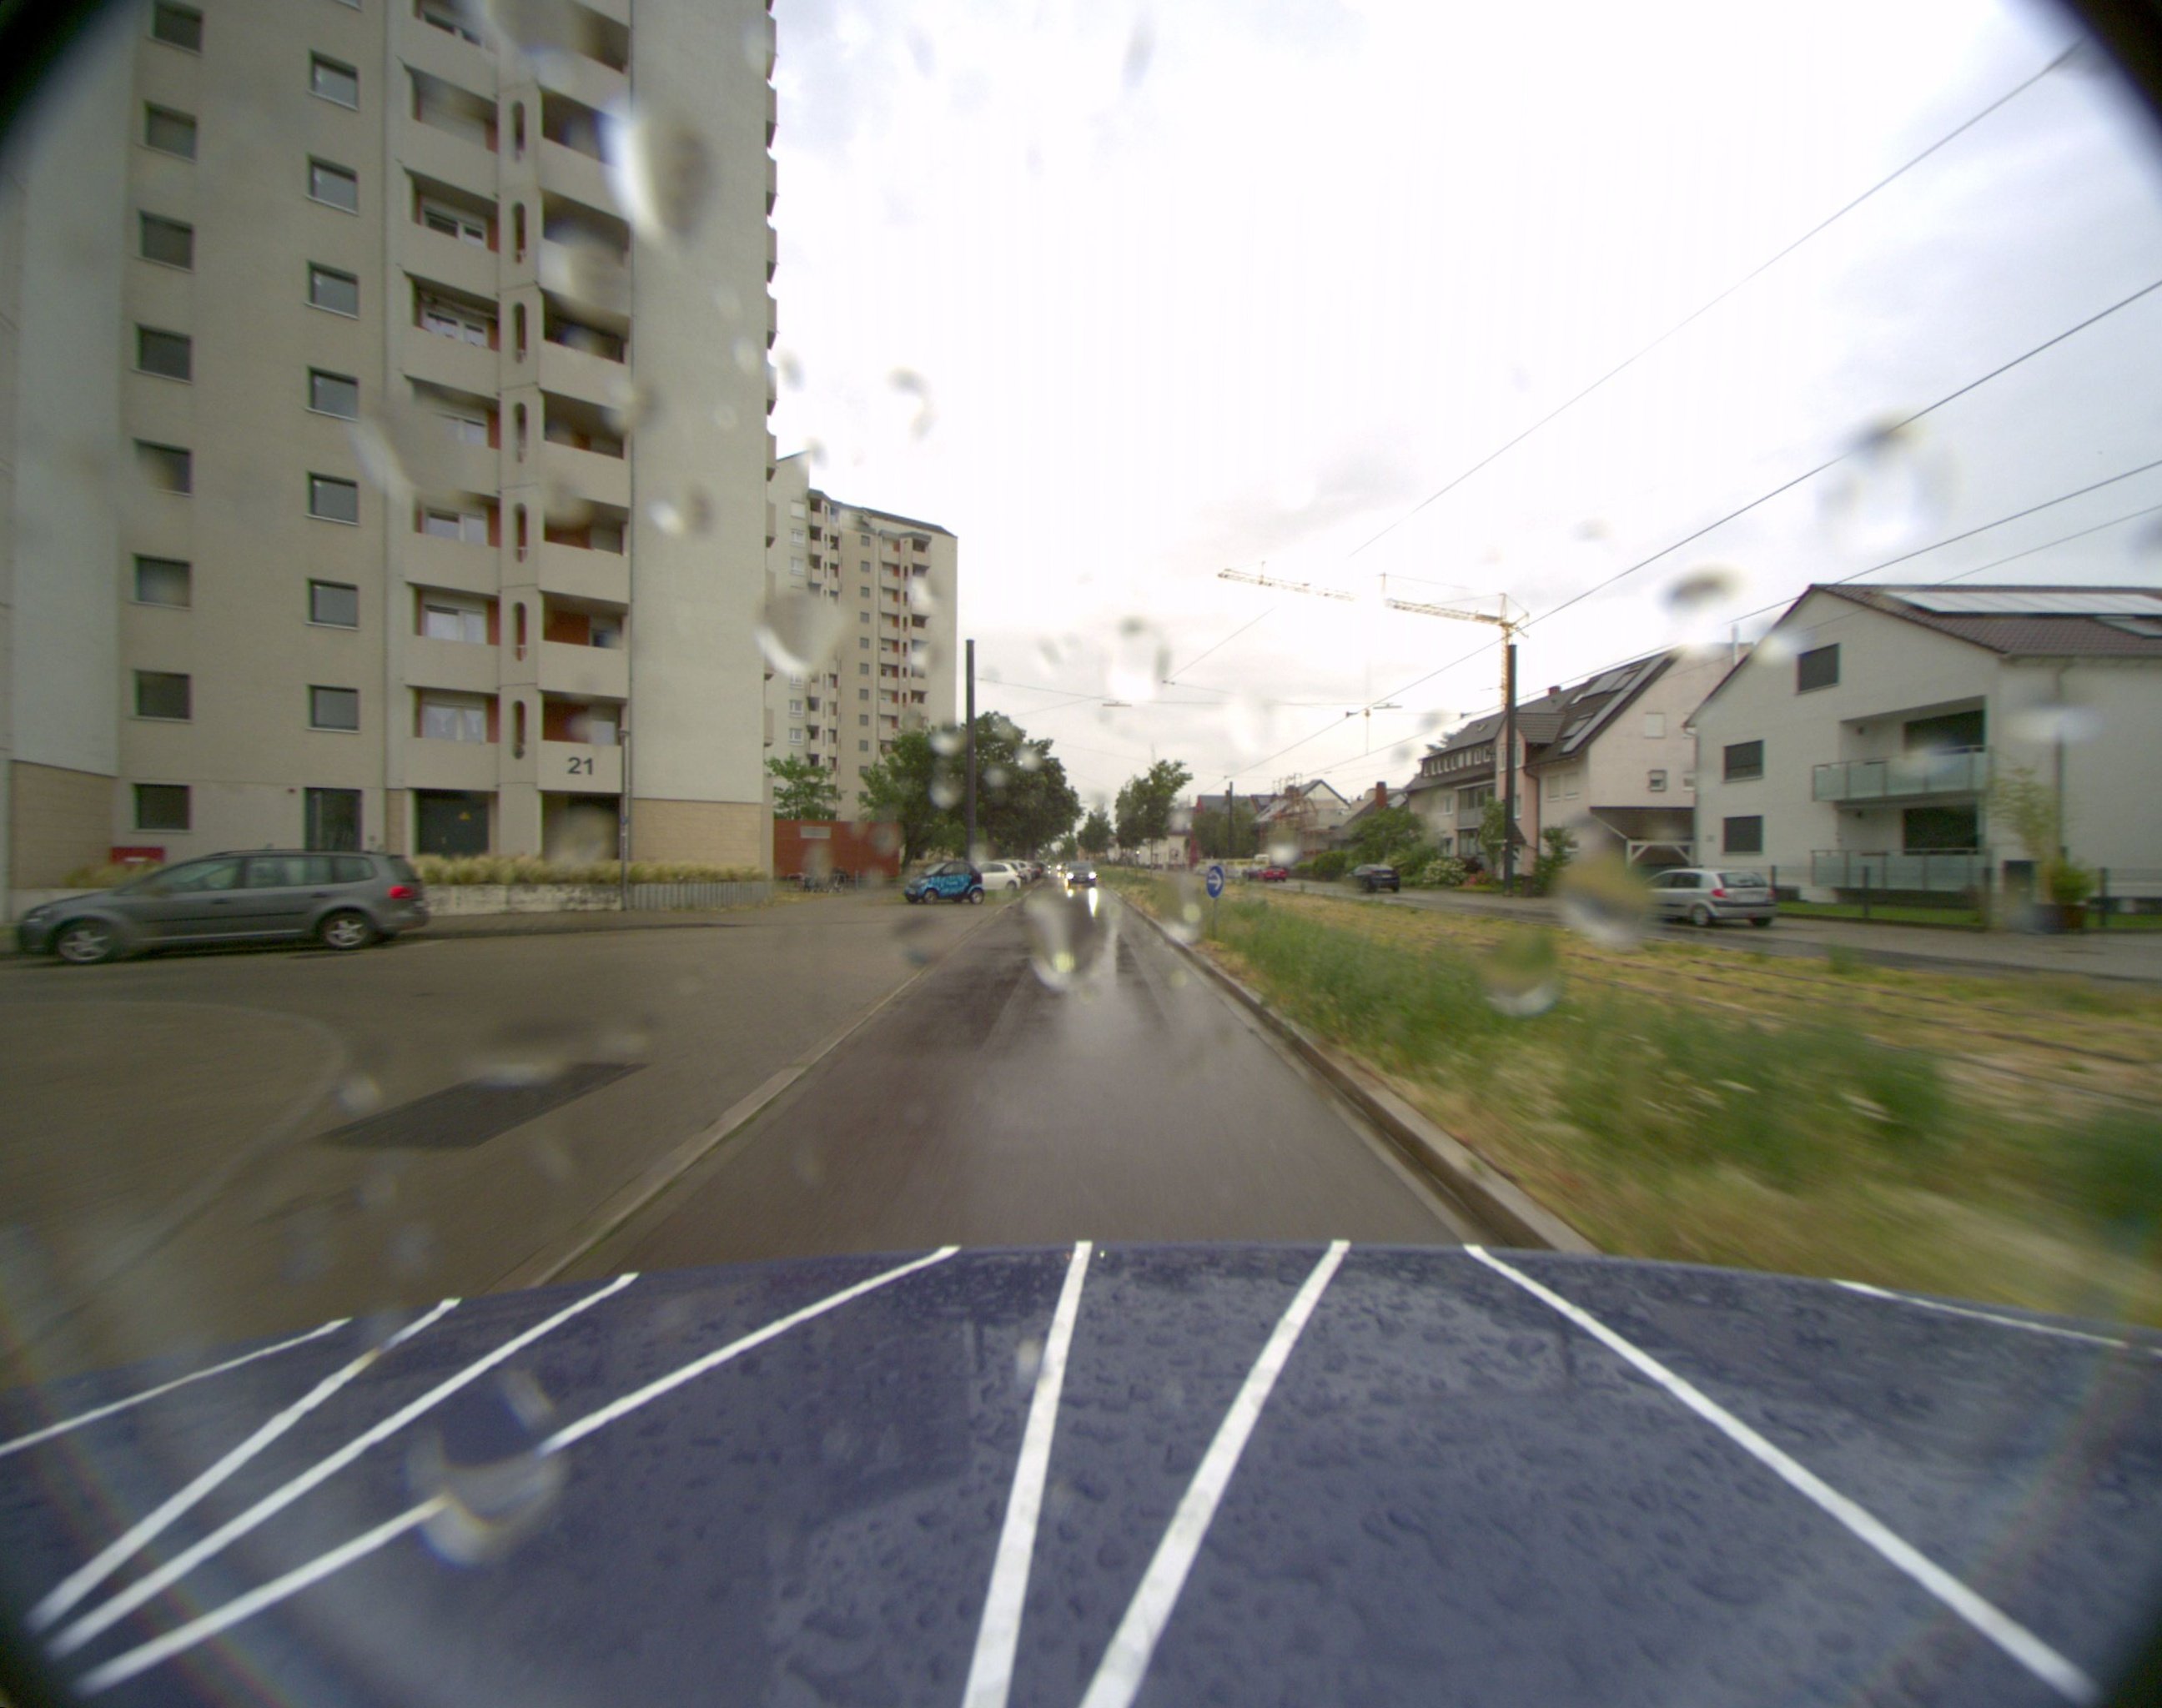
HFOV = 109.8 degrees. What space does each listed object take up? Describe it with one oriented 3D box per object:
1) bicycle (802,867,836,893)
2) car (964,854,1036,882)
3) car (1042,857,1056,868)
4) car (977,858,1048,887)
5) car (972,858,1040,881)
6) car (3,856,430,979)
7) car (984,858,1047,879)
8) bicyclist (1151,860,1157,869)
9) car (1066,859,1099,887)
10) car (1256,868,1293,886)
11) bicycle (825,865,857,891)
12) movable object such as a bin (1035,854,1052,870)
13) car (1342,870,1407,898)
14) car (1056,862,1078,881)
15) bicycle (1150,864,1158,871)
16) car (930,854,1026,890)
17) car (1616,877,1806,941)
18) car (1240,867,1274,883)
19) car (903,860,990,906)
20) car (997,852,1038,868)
[{"bbox_3d":[-10.910,1.070,31.708,0.663,1.000,2.058,-1,1,0],"label":"bicycle"},{"bbox_3d":[-5.436,0.929,51.063,4.471,1.661,1.808,4,-2,-38],"label":"car"},{"bbox_3d":[-5.336,1.352,126.600,1.998,1.696,4.000,-1,1,0],"label":"car"},{"bbox_3d":[-4.354,1.230,48.770,4.195,1.661,1.680,4,-2,-37],"label":"car"},{"bbox_3d":[-5.357,1.100,54.363,4.471,1.401,1.763,4,-2,-35],"label":"car"},{"bbox_3d":[-13.321,0.882,12.157,4.119,1.607,1.811,-1,-1,-30],"label":"car"},{"bbox_3d":[-4.965,1.118,57.649,4.470,1.419,1.680,4,-2,-34],"label":"car"},{"bbox_3d":[12.999,1.788,135.517,0.956,1.575,1.400,-1,1,-1],"label":"bicyclist"},{"bbox_3d":[0.055,1.182,49.056,1.999,1.611,3.999,-1,1,-1],"label":"car"},{"bbox_3d":[15.981,1.871,62.878,1.999,1.365,3.842,-1,1,-2],"label":"car"},{"bbox_3d":[-9.993,0.993,31.674,0.663,1.000,2.058,-1,1,0],"label":"bicycle"},{"bbox_3d":[-3.624,0.781,73.764,1.165,1.553,1.372,-1,1,-24],"label":"movable object such as a bin"},{"bbox_3d":[16.133,1.614,42.033,1.841,1.418,4.174,-1,-1,-2],"label":"car"},{"bbox_3d":[-1.373,1.691,76.039,1.998,1.761,4.000,-1,1,0],"label":"car"},{"bbox_3d":[13.026,2.390,134.990,0.937,1.037,3.433,1,0,-3],"label":"bicycle"},{"bbox_3d":[-4.878,0.880,36.421,4.196,1.538,1.760,4,-2,-40],"label":"car"},{"bbox_3d":[16.631,1.395,20.320,1.999,1.405,3.657,-1,1,-2],"label":"car"},{"bbox_3d":[15.754,1.880,68.255,1.999,1.401,4.175,-1,-2,-2],"label":"car"},{"bbox_3d":[-4.763,0.985,26.992,2.570,1.539,1.598,0,0,-40],"label":"car"},{"bbox_3d":[-6.989,0.667,83.782,4.056,1.479,1.720,3,-2,-36],"label":"car"}]
